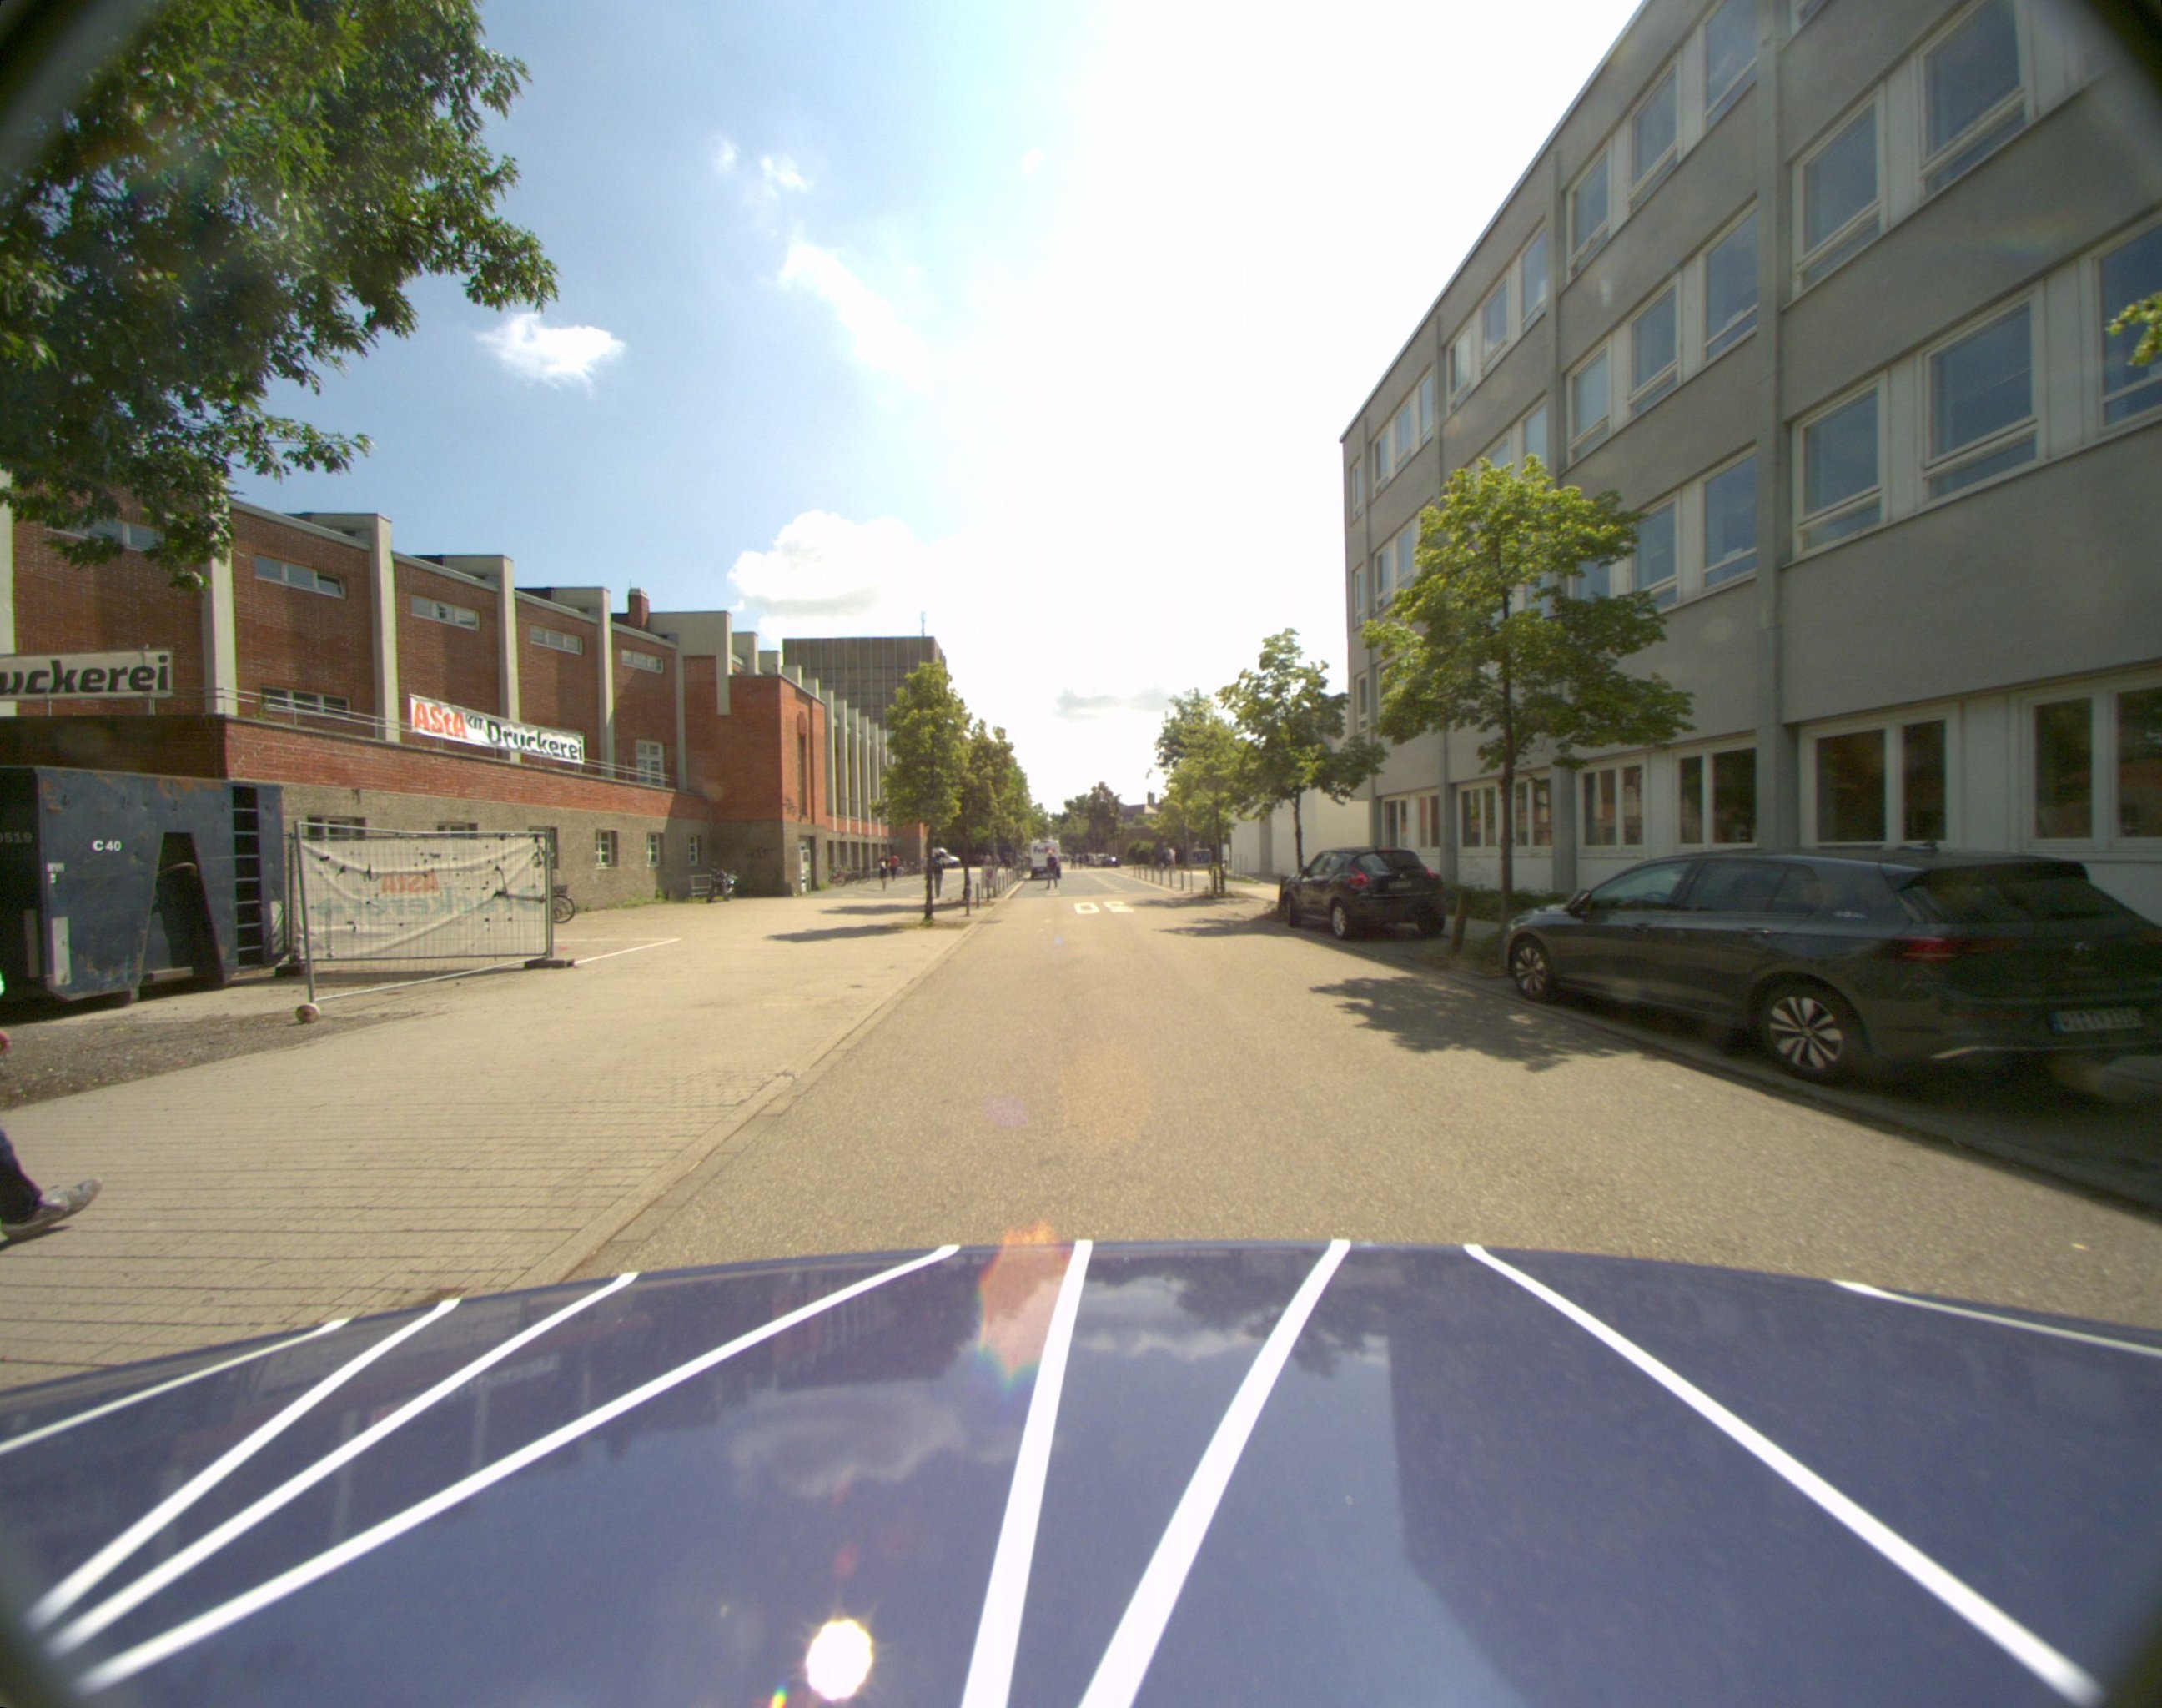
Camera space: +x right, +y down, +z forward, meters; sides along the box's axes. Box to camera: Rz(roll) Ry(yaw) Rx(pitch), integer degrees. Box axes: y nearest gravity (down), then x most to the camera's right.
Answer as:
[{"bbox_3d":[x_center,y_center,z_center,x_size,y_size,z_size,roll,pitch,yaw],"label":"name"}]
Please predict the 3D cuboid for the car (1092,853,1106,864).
[{"bbox_3d":[2.369,0.541,101.952,1.718,1.424,3.999,-1,0,-1],"label":"car"}]

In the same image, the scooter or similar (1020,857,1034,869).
[{"bbox_3d":[-5.657,0.911,79.765,1.353,1.223,0.577,-1,0,33],"label":"scooter or similar"}]

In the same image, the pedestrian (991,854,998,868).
[{"bbox_3d":[-10.586,0.835,93.019,0.785,1.666,1.078,-1,1,-11],"label":"pedestrian"}]

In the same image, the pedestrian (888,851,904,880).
[{"bbox_3d":[-11.781,0.729,48.406,0.664,1.823,0.906,-1,1,5],"label":"pedestrian"}]

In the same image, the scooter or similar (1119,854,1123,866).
[{"bbox_3d":[4.097,0.625,77.655,0.470,1.209,1.205,-1,1,3],"label":"scooter or similar"}]

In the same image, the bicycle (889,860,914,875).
[{"bbox_3d":[-13.495,1.035,57.188,1.802,1.103,0.435,-1,1,-4],"label":"bicycle"}]

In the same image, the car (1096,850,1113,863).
[{"bbox_3d":[2.688,0.290,87.871,1.635,1.422,3.632,-1,0,-2],"label":"car"}]

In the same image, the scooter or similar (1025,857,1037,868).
[{"bbox_3d":[-5.354,0.921,81.381,1.261,1.225,0.577,-1,0,33],"label":"scooter or similar"}]

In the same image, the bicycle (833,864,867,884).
[{"bbox_3d":[-13.083,1.128,43.002,1.752,1.103,0.435,-1,1,-4],"label":"bicycle"}]

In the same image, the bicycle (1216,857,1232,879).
[{"bbox_3d":[7.317,0.710,38.996,0.544,1.055,1.899,-1,0,3],"label":"bicycle"}]

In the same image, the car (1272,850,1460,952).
[{"bbox_3d":[5.008,0.728,13.999,1.701,1.555,4.066,-1,0,-4],"label":"car"}]

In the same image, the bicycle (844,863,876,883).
[{"bbox_3d":[-12.921,1.114,44.454,1.687,1.103,0.435,-1,1,-4],"label":"bicycle"}]

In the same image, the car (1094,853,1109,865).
[{"bbox_3d":[2.511,0.586,93.703,1.648,1.368,3.999,-1,0,-1],"label":"car"}]

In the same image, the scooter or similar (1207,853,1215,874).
[{"bbox_3d":[7.876,0.552,46.024,0.483,1.256,1.314,-1,1,10],"label":"scooter or similar"}]

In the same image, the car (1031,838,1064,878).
[{"bbox_3d":[-2.355,0.244,51.948,2.065,2.528,5.847,-1,0,-4],"label":"car"}]

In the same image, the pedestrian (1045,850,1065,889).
[{"bbox_3d":[-1.255,0.741,37.035,0.826,1.807,1.143,-1,1,-7],"label":"pedestrian"}]

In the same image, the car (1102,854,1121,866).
[{"bbox_3d":[3.246,0.627,81.547,1.701,1.287,3.761,-1,0,-1],"label":"car"}]

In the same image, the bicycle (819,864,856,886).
[{"bbox_3d":[-13.004,1.110,40.562,1.758,1.143,0.517,-1,1,-4],"label":"bicycle"}]

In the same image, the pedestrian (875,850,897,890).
[{"bbox_3d":[-9.285,0.743,36.228,0.846,1.823,1.196,-1,1,-7],"label":"pedestrian"}]

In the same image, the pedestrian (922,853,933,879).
[{"bbox_3d":[-10.292,0.791,51.037,0.586,1.697,1.001,-1,1,-5],"label":"pedestrian"}]

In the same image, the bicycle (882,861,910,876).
[{"bbox_3d":[-13.458,1.055,55.376,1.916,1.103,0.435,-1,1,-4],"label":"bicycle"}]

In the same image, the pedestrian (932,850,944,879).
[{"bbox_3d":[-9.578,0.712,51.059,0.666,1.879,1.109,-1,1,-5],"label":"pedestrian"}]

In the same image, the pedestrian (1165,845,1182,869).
[{"bbox_3d":[7.180,0.253,59.237,1.022,1.837,0.918,1,1,29],"label":"pedestrian"}]

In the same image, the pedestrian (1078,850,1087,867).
[{"bbox_3d":[0.130,0.519,82.021,0.727,1.776,0.899,-2,1,-18],"label":"pedestrian"}]

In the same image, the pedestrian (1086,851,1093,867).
[{"bbox_3d":[0.919,0.522,82.386,0.558,1.706,0.971,-1,1,-14],"label":"pedestrian"}]

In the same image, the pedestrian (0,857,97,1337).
[{"bbox_3d":[-4.336,0.904,2.660,0.697,1.770,0.786,-1,1,-8],"label":"pedestrian"}]

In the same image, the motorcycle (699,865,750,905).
[{"bbox_3d":[-12.647,1.085,27.032,0.698,1.315,2.220,-1,0,0],"label":"motorcycle"}]

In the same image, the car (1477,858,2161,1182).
[{"bbox_3d":[5.173,0.815,5.849,1.783,1.452,4.257,-3,0,-4],"label":"car"}]

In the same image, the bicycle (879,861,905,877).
[{"bbox_3d":[-13.345,1.071,53.704,1.687,1.103,0.435,-1,1,-4],"label":"bicycle"}]

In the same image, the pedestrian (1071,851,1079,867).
[{"bbox_3d":[-0.685,0.579,81.824,0.622,1.706,1.004,-1,0,-14],"label":"pedestrian"}]

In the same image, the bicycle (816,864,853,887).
[{"bbox_3d":[-12.869,1.124,39.640,1.758,1.143,0.435,-1,1,-4],"label":"bicycle"}]

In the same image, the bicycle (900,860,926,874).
[{"bbox_3d":[-13.564,1.024,61.318,1.935,1.103,0.456,-1,1,-4],"label":"bicycle"}]

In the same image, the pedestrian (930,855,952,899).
[{"bbox_3d":[-5.424,0.884,29.450,0.643,1.687,0.792,-1,1,2],"label":"pedestrian"}]

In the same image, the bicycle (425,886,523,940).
[{"bbox_3d":[-13.161,1.274,16.495,1.706,1.103,0.447,-1,1,-2],"label":"bicycle"}]

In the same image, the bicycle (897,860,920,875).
[{"bbox_3d":[-13.495,1.043,59.513,1.699,1.103,0.435,-1,1,-4],"label":"bicycle"}]
